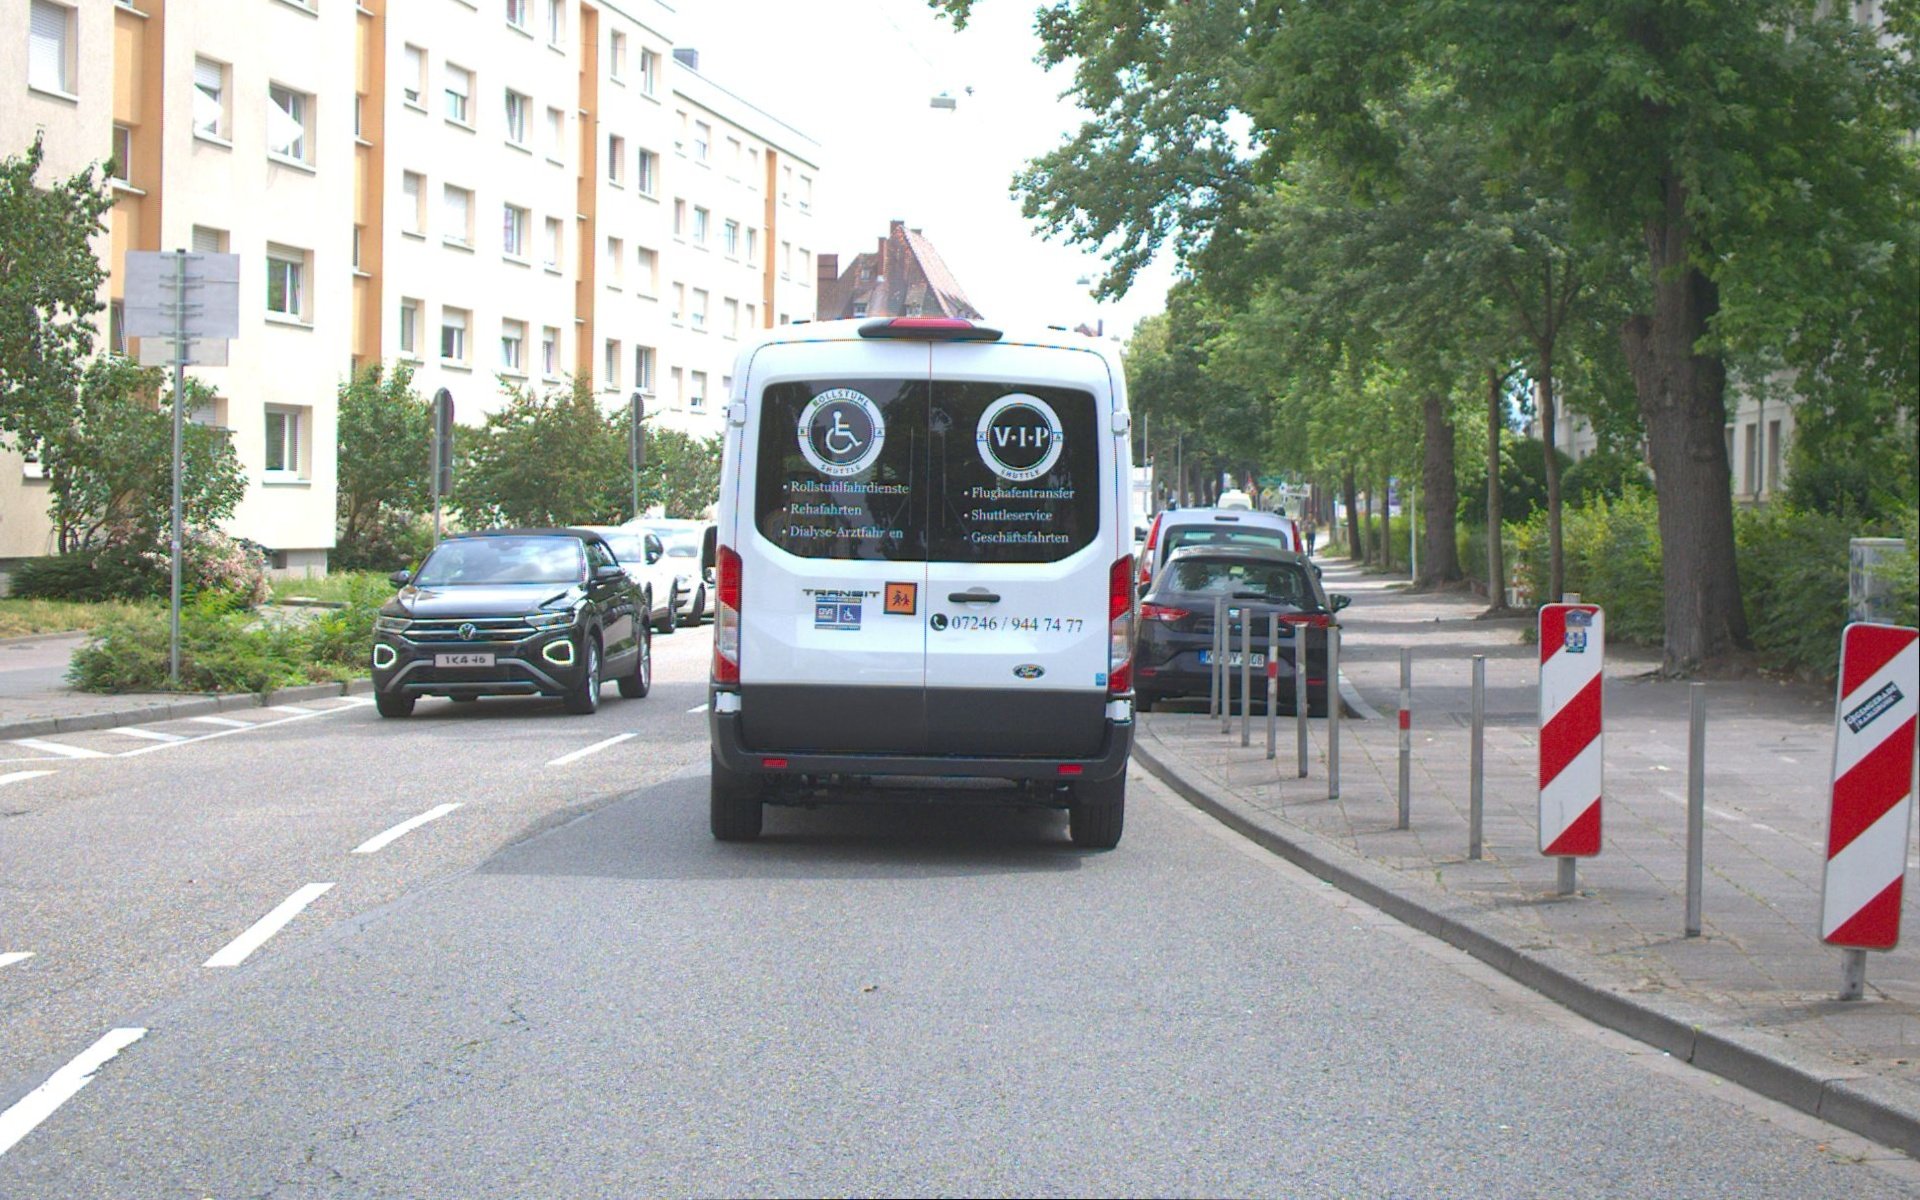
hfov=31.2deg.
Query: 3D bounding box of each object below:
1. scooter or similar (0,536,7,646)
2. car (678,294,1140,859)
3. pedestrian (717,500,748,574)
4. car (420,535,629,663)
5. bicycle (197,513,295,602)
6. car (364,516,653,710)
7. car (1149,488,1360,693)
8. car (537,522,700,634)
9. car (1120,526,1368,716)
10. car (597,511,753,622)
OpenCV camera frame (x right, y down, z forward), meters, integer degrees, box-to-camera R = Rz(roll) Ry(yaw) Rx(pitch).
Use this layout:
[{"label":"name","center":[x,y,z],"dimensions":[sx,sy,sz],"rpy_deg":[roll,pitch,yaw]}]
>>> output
[{"label":"scooter or similar","center":[-10.725,-0.100,36.704],"dimensions":[0.402,1.189,1.289],"rpy_deg":[3,1,16]},{"label":"car","center":[-0.123,-0.146,17.811],"dimensions":[2.070,2.531,4.634],"rpy_deg":[0,1,3]},{"label":"pedestrian","center":[-5.653,-1.577,85.618],"dimensions":[0.619,1.807,0.899],"rpy_deg":[2,1,2]},{"label":"car","center":[-5.503,-0.050,43.863],"dimensions":[1.709,1.468,3.988],"rpy_deg":[3,1,6]},{"label":"bicycle","center":[-10.471,-0.639,50.460],"dimensions":[0.579,1.246,1.932],"rpy_deg":[2,2,15]},{"label":"car","center":[-3.731,0.053,29.039],"dimensions":[1.697,1.513,4.000],"rpy_deg":[0,2,3]},{"label":"car","center":[3.048,-0.144,35.158],"dimensions":[1.918,1.859,4.845],"rpy_deg":[3,1,6]},{"label":"car","center":[-4.876,-0.346,49.505],"dimensions":[1.708,1.468,3.989],"rpy_deg":[3,1,3]},{"label":"car","center":[2.467,0.119,29.437],"dimensions":[1.918,1.439,4.238],"rpy_deg":[2,1,6]},{"label":"car","center":[-4.482,-0.559,54.619],"dimensions":[1.697,1.607,4.477],"rpy_deg":[3,1,5]}]
